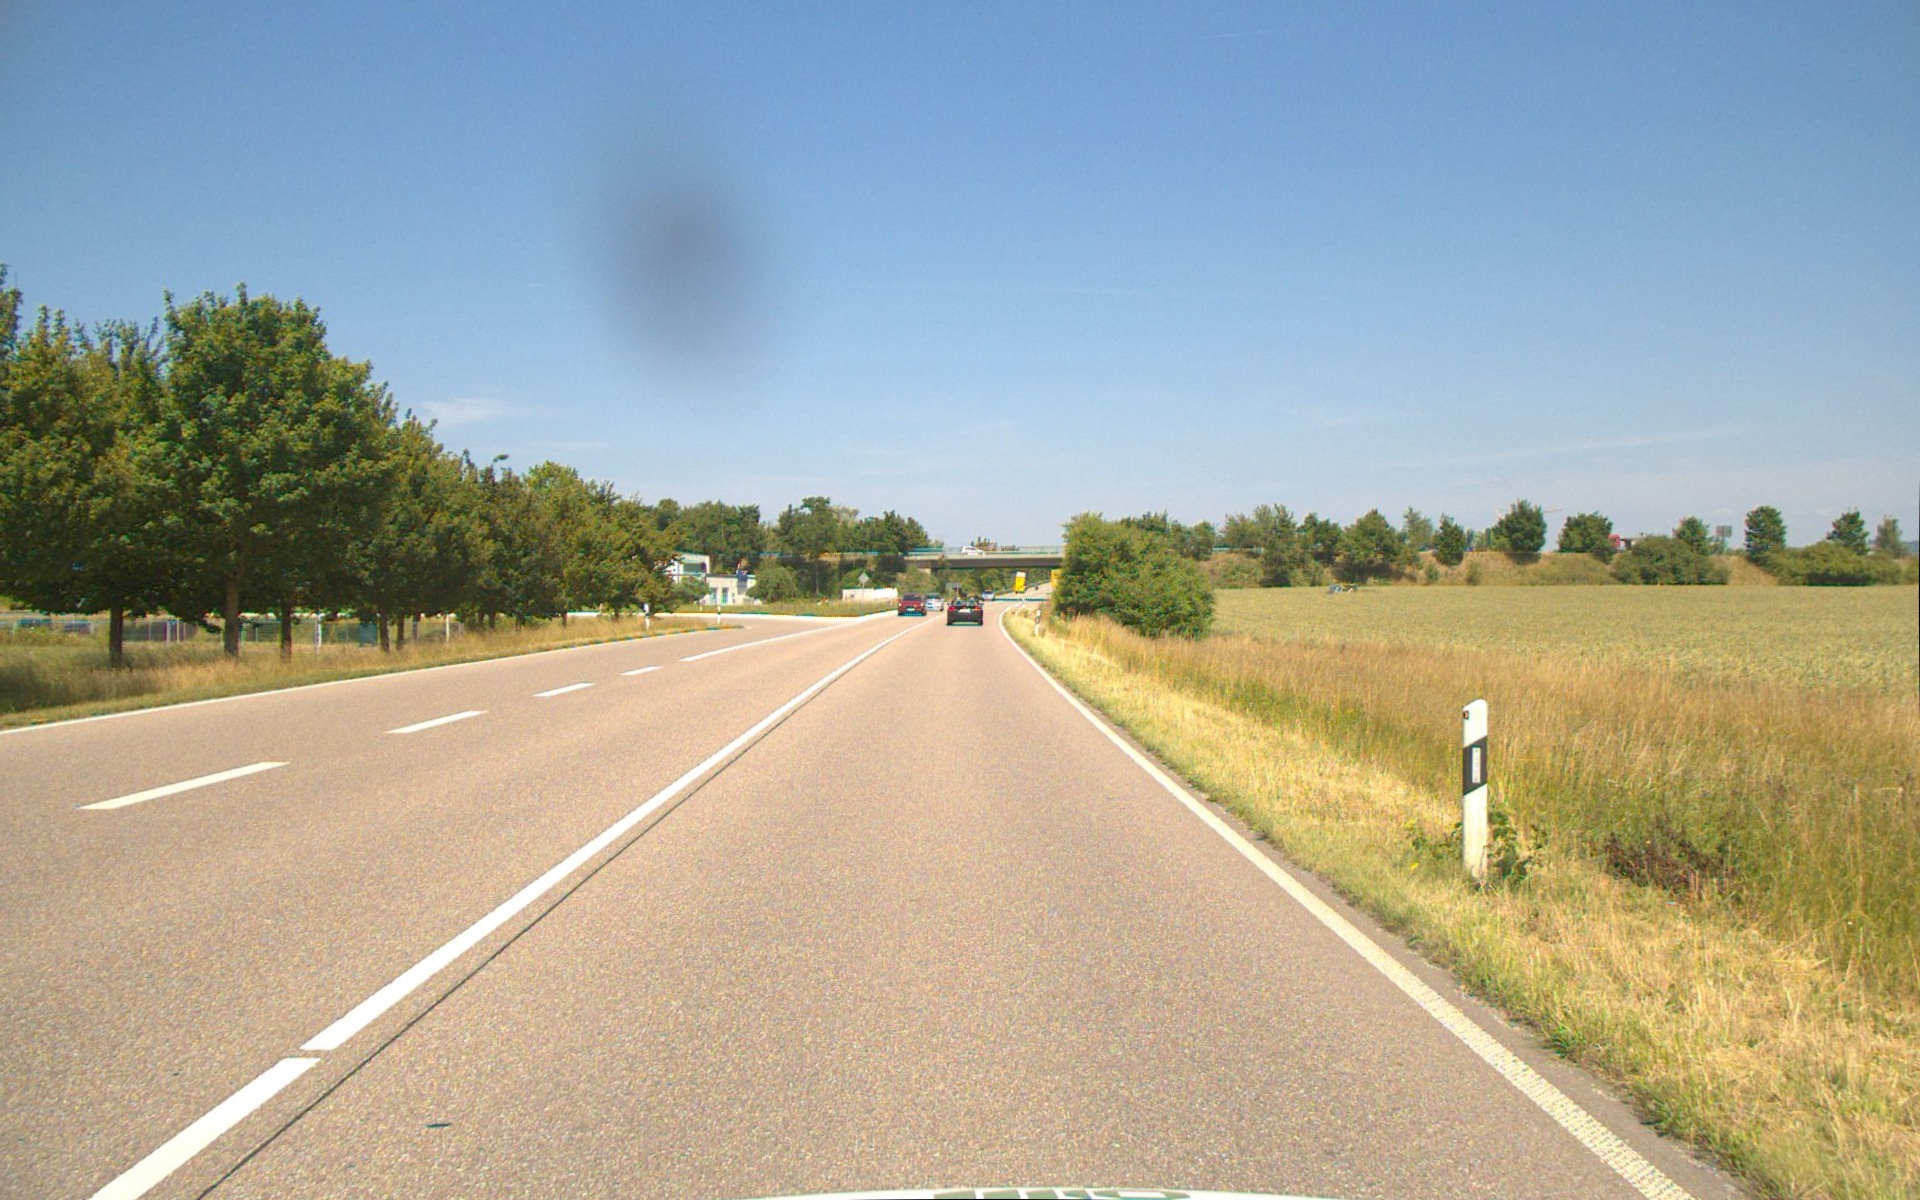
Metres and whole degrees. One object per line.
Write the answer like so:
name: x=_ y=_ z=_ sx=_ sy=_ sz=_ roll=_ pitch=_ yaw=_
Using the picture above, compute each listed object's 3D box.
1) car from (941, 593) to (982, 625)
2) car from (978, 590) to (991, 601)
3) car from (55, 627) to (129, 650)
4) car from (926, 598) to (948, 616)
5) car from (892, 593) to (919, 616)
car: x=0.056 y=0.424 z=79.354 sx=1.778 sy=1.466 sz=3.998 roll=0 pitch=0 yaw=-3
car: x=3.744 y=-0.655 z=249.938 sx=1.794 sy=1.595 sz=3.333 roll=1 pitch=-1 yaw=-1
car: x=-58.306 y=2.572 z=111.163 sx=1.954 sy=1.418 sz=3.996 roll=-1 pitch=0 yaw=26
car: x=-1.868 y=0.567 z=134.815 sx=1.696 sy=1.415 sz=4.491 roll=1 pitch=0 yaw=0
car: x=-3.541 y=0.276 z=108.586 sx=1.707 sy=1.436 sz=4.623 roll=1 pitch=0 yaw=-1
